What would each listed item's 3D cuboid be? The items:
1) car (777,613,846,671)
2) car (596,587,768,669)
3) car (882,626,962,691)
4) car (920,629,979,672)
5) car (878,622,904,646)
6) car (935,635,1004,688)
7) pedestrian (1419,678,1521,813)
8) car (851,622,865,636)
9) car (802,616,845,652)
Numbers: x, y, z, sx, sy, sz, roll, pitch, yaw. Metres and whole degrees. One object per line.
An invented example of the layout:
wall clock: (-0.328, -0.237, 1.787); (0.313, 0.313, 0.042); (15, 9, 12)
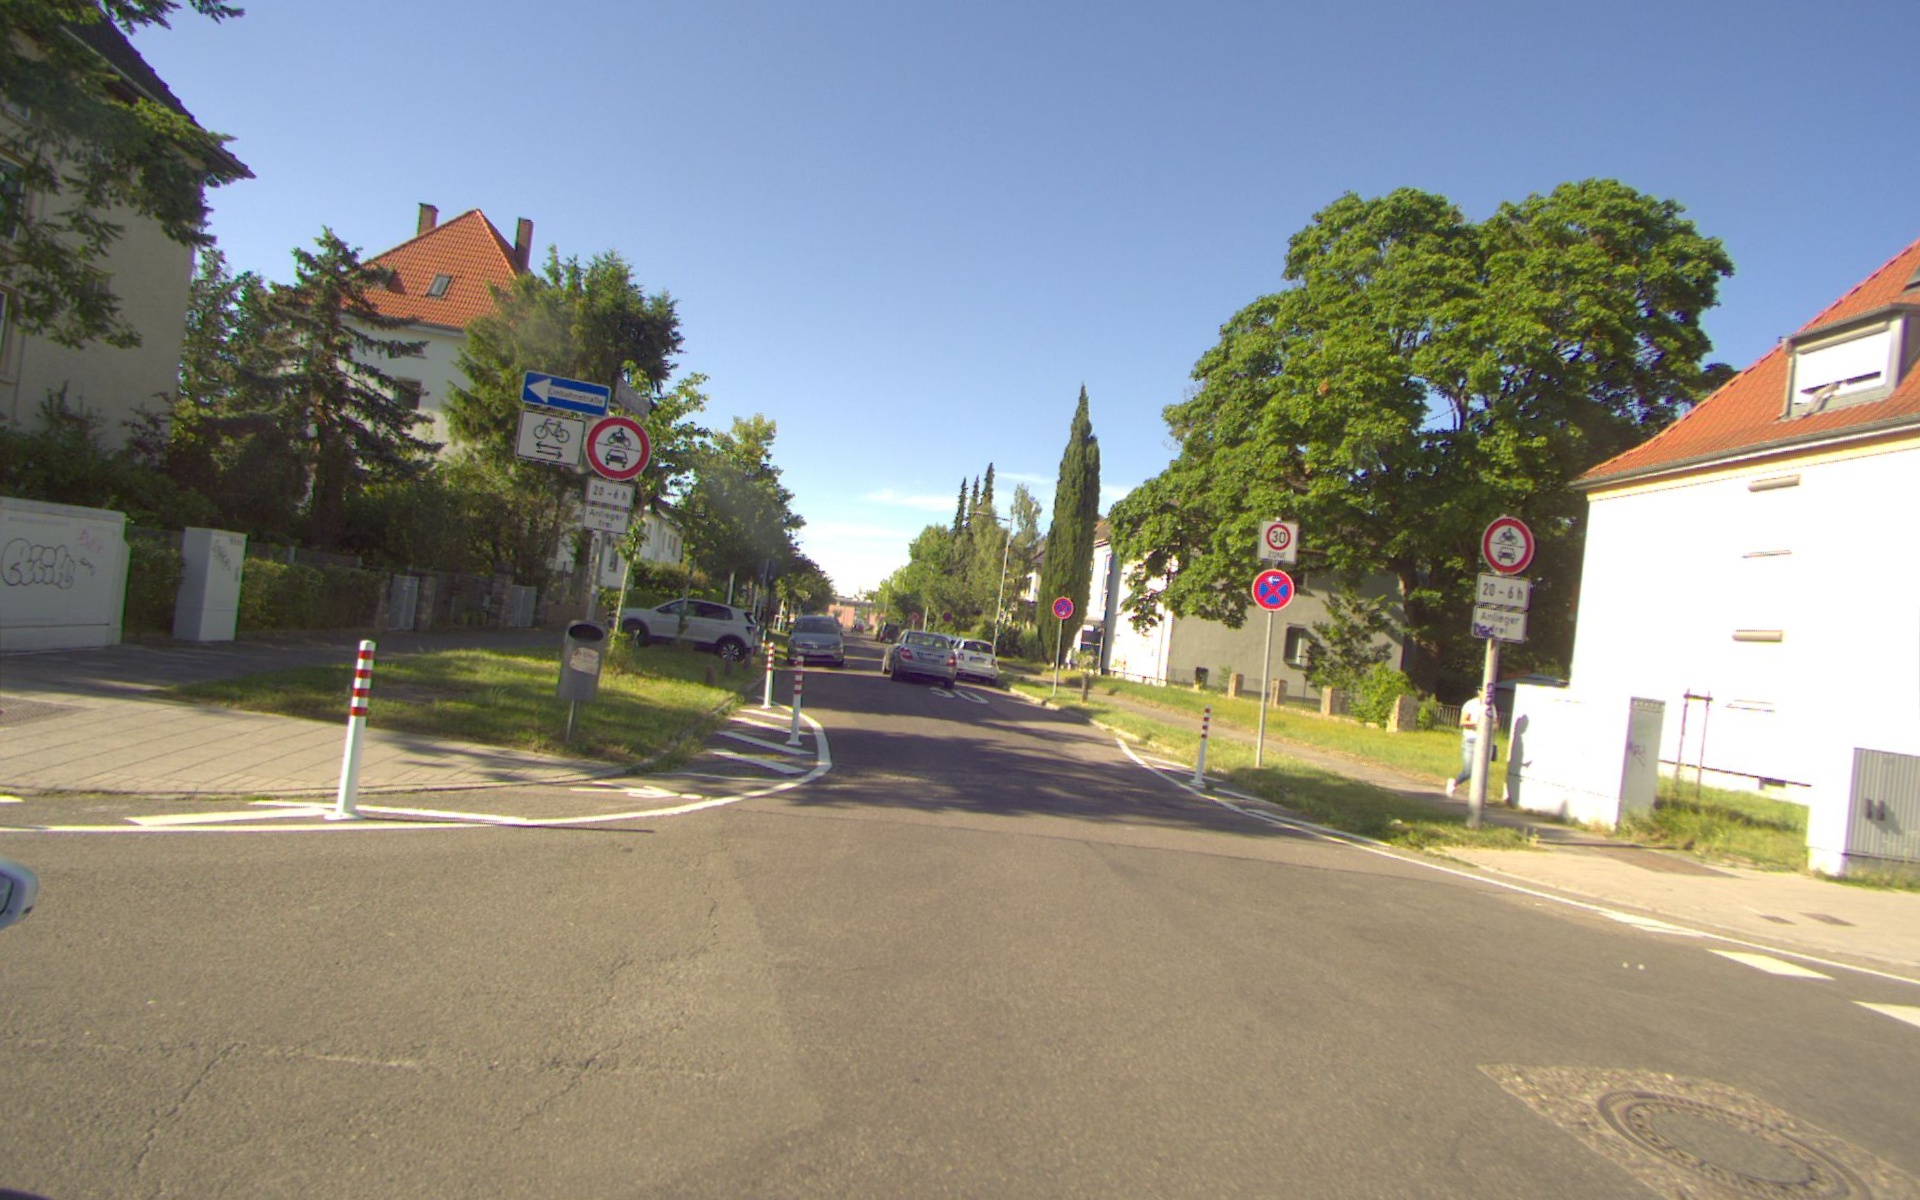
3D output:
car: (-4.813, 1.303, 32.532); (1.965, 1.629, 3.995); (4, -1, -9)
car: (-7.380, 0.764, 27.119); (4.137, 1.582, 1.840); (8, -2, -10)
car: (-1.135, 1.588, 28.252); (1.810, 1.457, 3.999); (8, -2, -6)
car: (-0.547, 2.291, 46.250); (1.966, 1.628, 3.995); (7, -2, -9)
car: (-6.254, 3.076, 91.013); (1.829, 1.862, 3.997); (7, -2, -8)
car: (0.278, 2.135, 35.547); (1.709, 1.497, 3.721); (7, -2, -9)
pedestrian: (6.813, 1.917, 13.477); (0.754, 1.630, 0.834); (7, -1, -2)
car: (-14.016, 4.010, 138.334); (1.575, 1.628, 3.639); (7, -2, -9)
car: (-6.844, 1.659, 50.222); (1.965, 1.629, 3.995); (4, -1, -9)
